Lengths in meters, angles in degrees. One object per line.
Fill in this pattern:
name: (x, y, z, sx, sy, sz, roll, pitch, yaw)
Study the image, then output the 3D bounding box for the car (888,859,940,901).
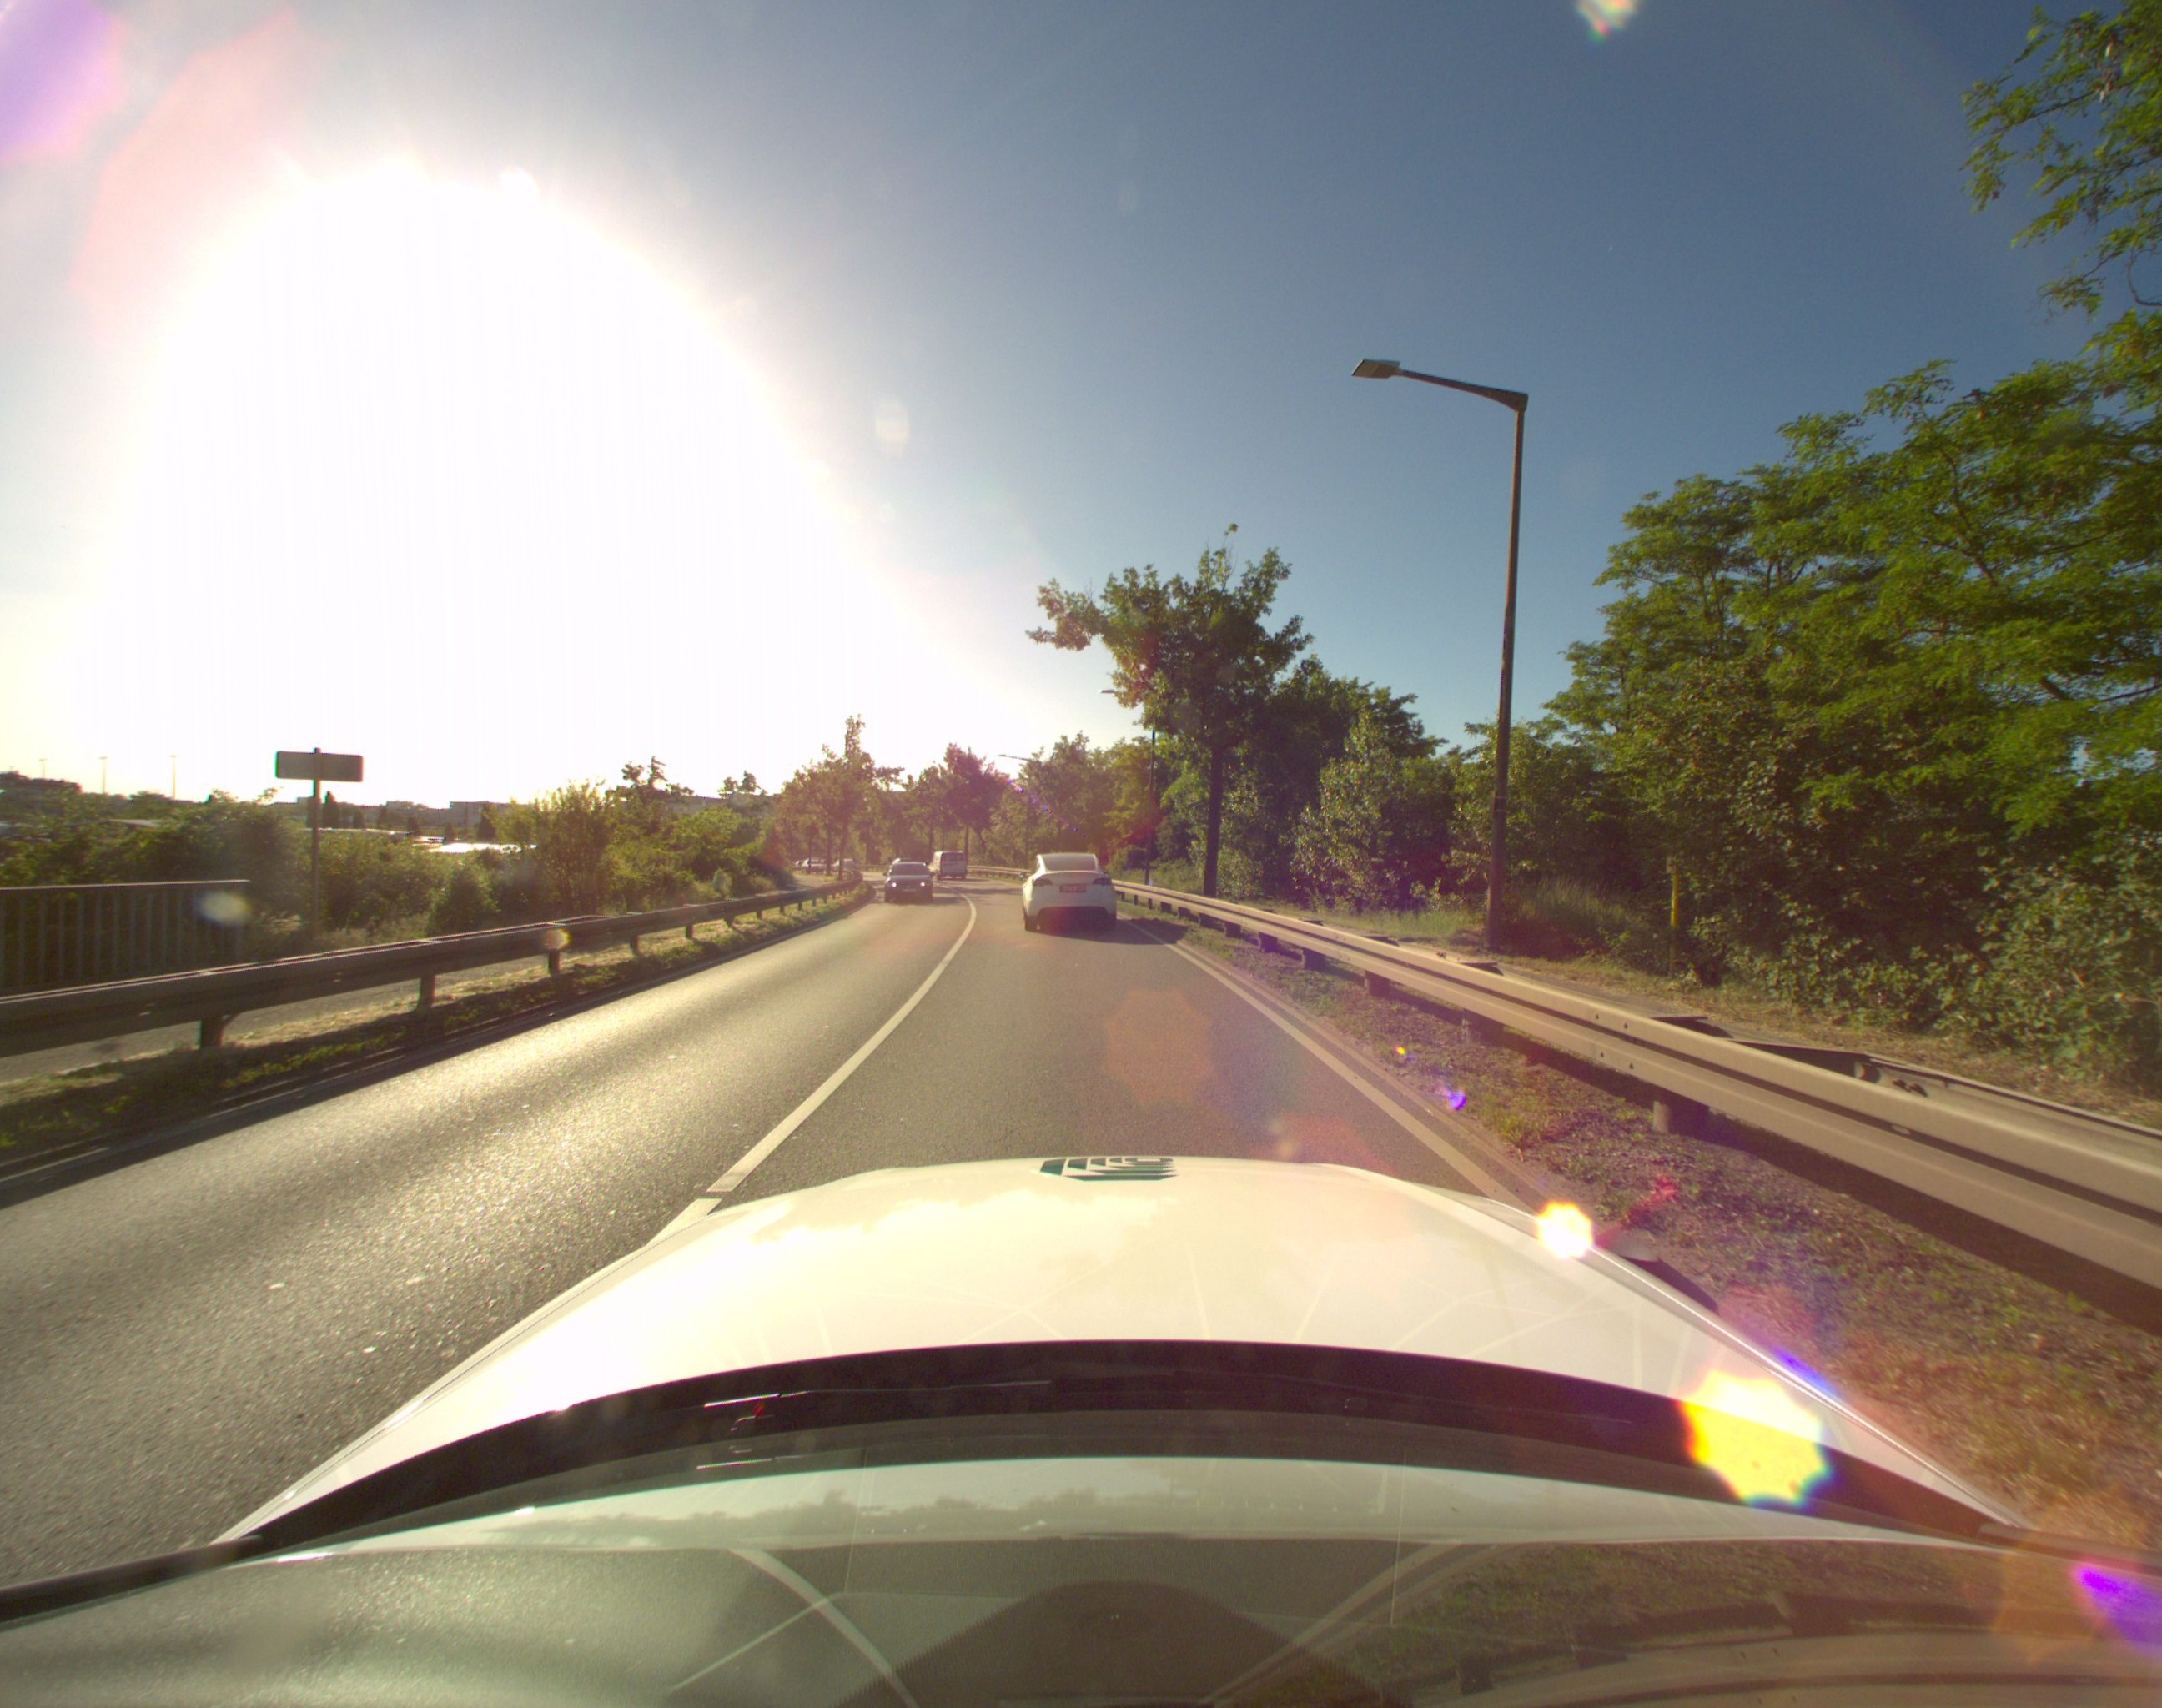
car: (-6.375, 0.942, 30.829, 1.794, 1.431, 3.809, 0, 0, -13)

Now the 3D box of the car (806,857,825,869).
car: (-35.864, 1.165, 109.983, 1.846, 1.555, 3.858, 0, 0, -28)

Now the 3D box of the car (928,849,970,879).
car: (-8.961, 0.665, 55.029, 2.012, 1.940, 4.436, 0, 0, -21)

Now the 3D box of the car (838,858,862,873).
car: (-25.693, 1.287, 90.373, 1.869, 1.585, 3.880, 0, 0, -27)

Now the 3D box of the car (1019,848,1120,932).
car: (-0.301, 0.711, 18.119, 1.980, 1.638, 4.059, -1, 0, -2)

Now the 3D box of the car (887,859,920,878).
car: (-15.423, 1.261, 70.687, 1.869, 1.585, 3.880, 0, 0, -27)
